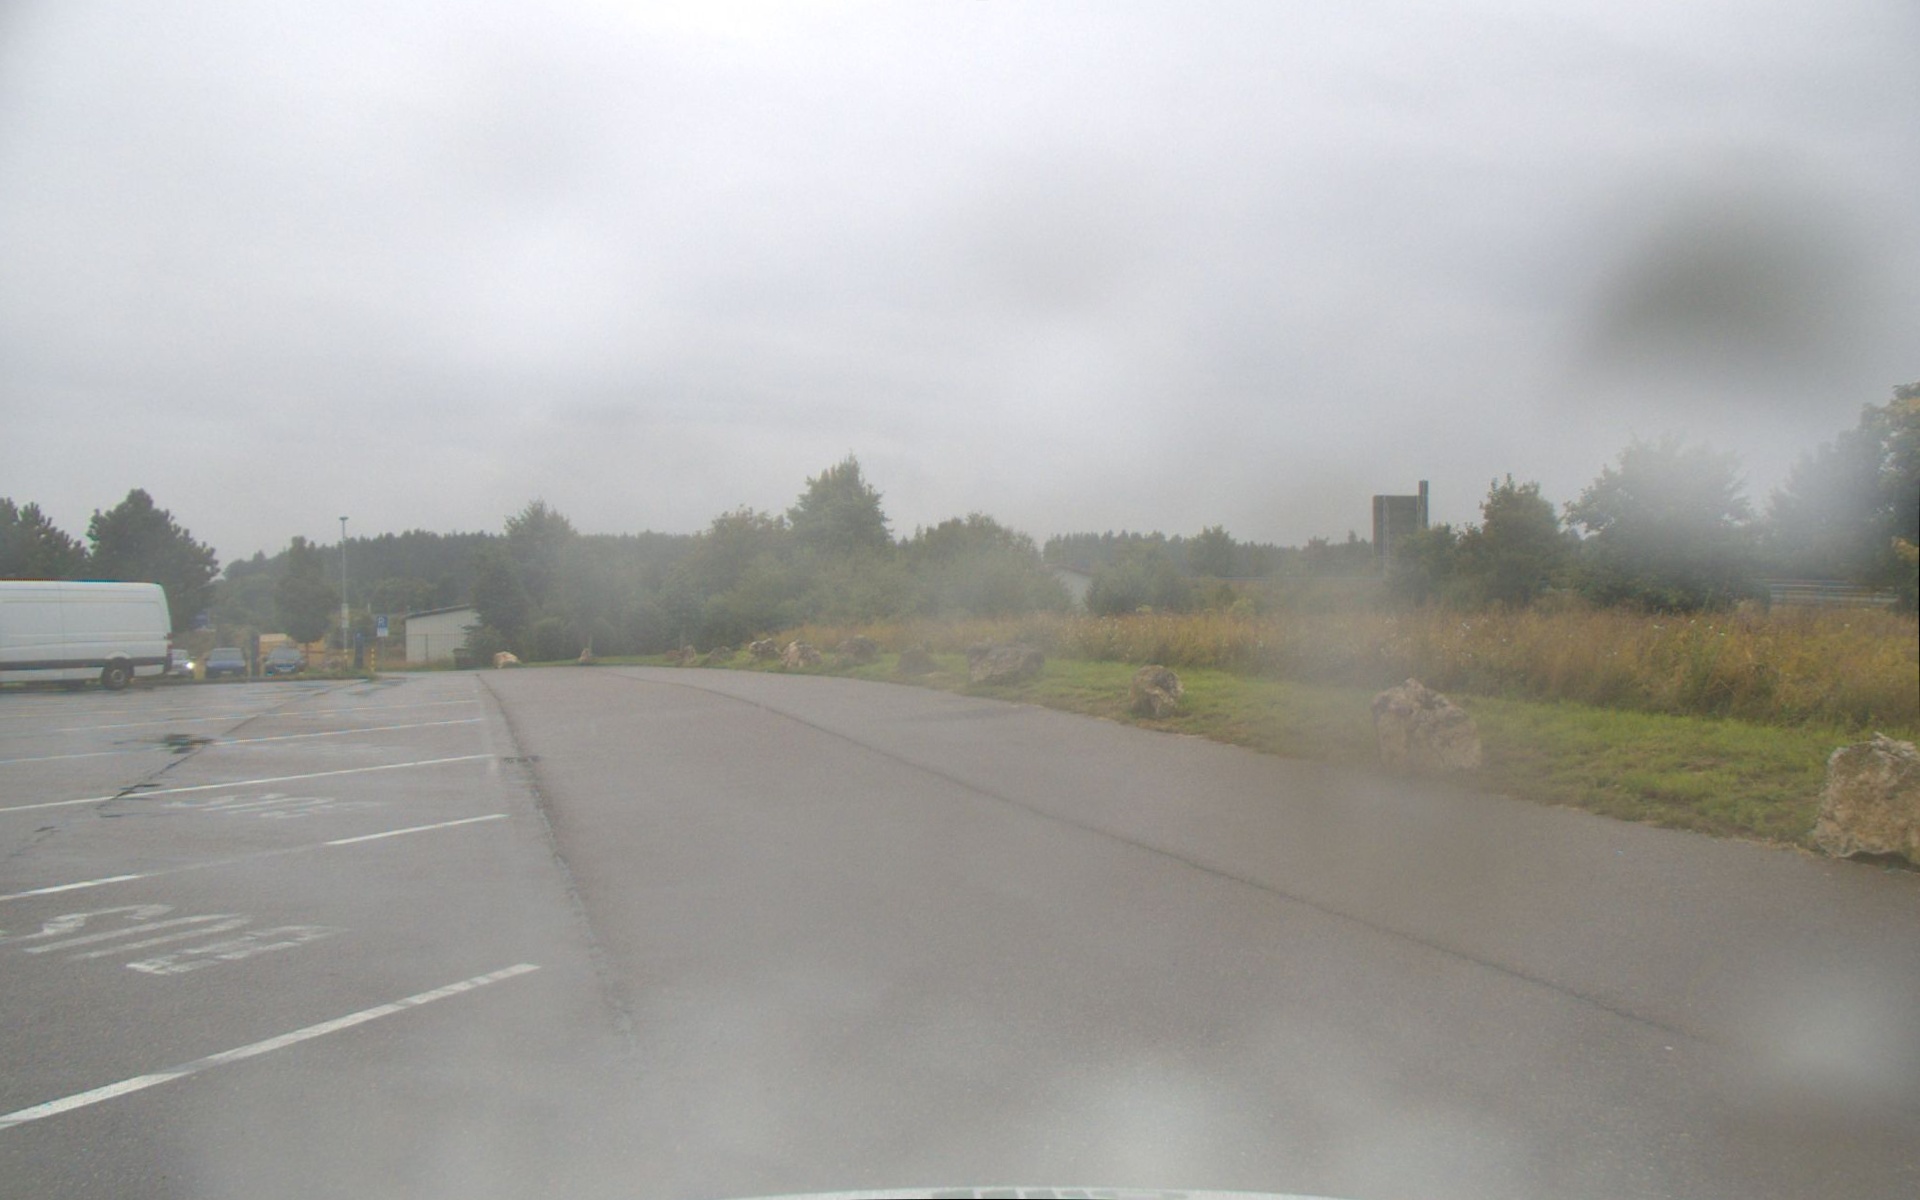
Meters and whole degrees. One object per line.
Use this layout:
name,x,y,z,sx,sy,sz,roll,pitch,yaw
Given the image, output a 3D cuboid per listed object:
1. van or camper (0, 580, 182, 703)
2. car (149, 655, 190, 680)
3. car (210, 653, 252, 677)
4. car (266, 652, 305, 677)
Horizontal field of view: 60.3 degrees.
van or camper,-22.097,0.934,38.961,1.955,2.763,7.058,1,1,28
car,-36.951,3.148,77.349,1.474,1.018,3.547,0,0,-21
car,-35.113,3.116,79.761,1.680,1.018,3.743,0,0,-21
car,-32.683,3.117,80.206,1.680,1.018,3.743,0,0,-21
